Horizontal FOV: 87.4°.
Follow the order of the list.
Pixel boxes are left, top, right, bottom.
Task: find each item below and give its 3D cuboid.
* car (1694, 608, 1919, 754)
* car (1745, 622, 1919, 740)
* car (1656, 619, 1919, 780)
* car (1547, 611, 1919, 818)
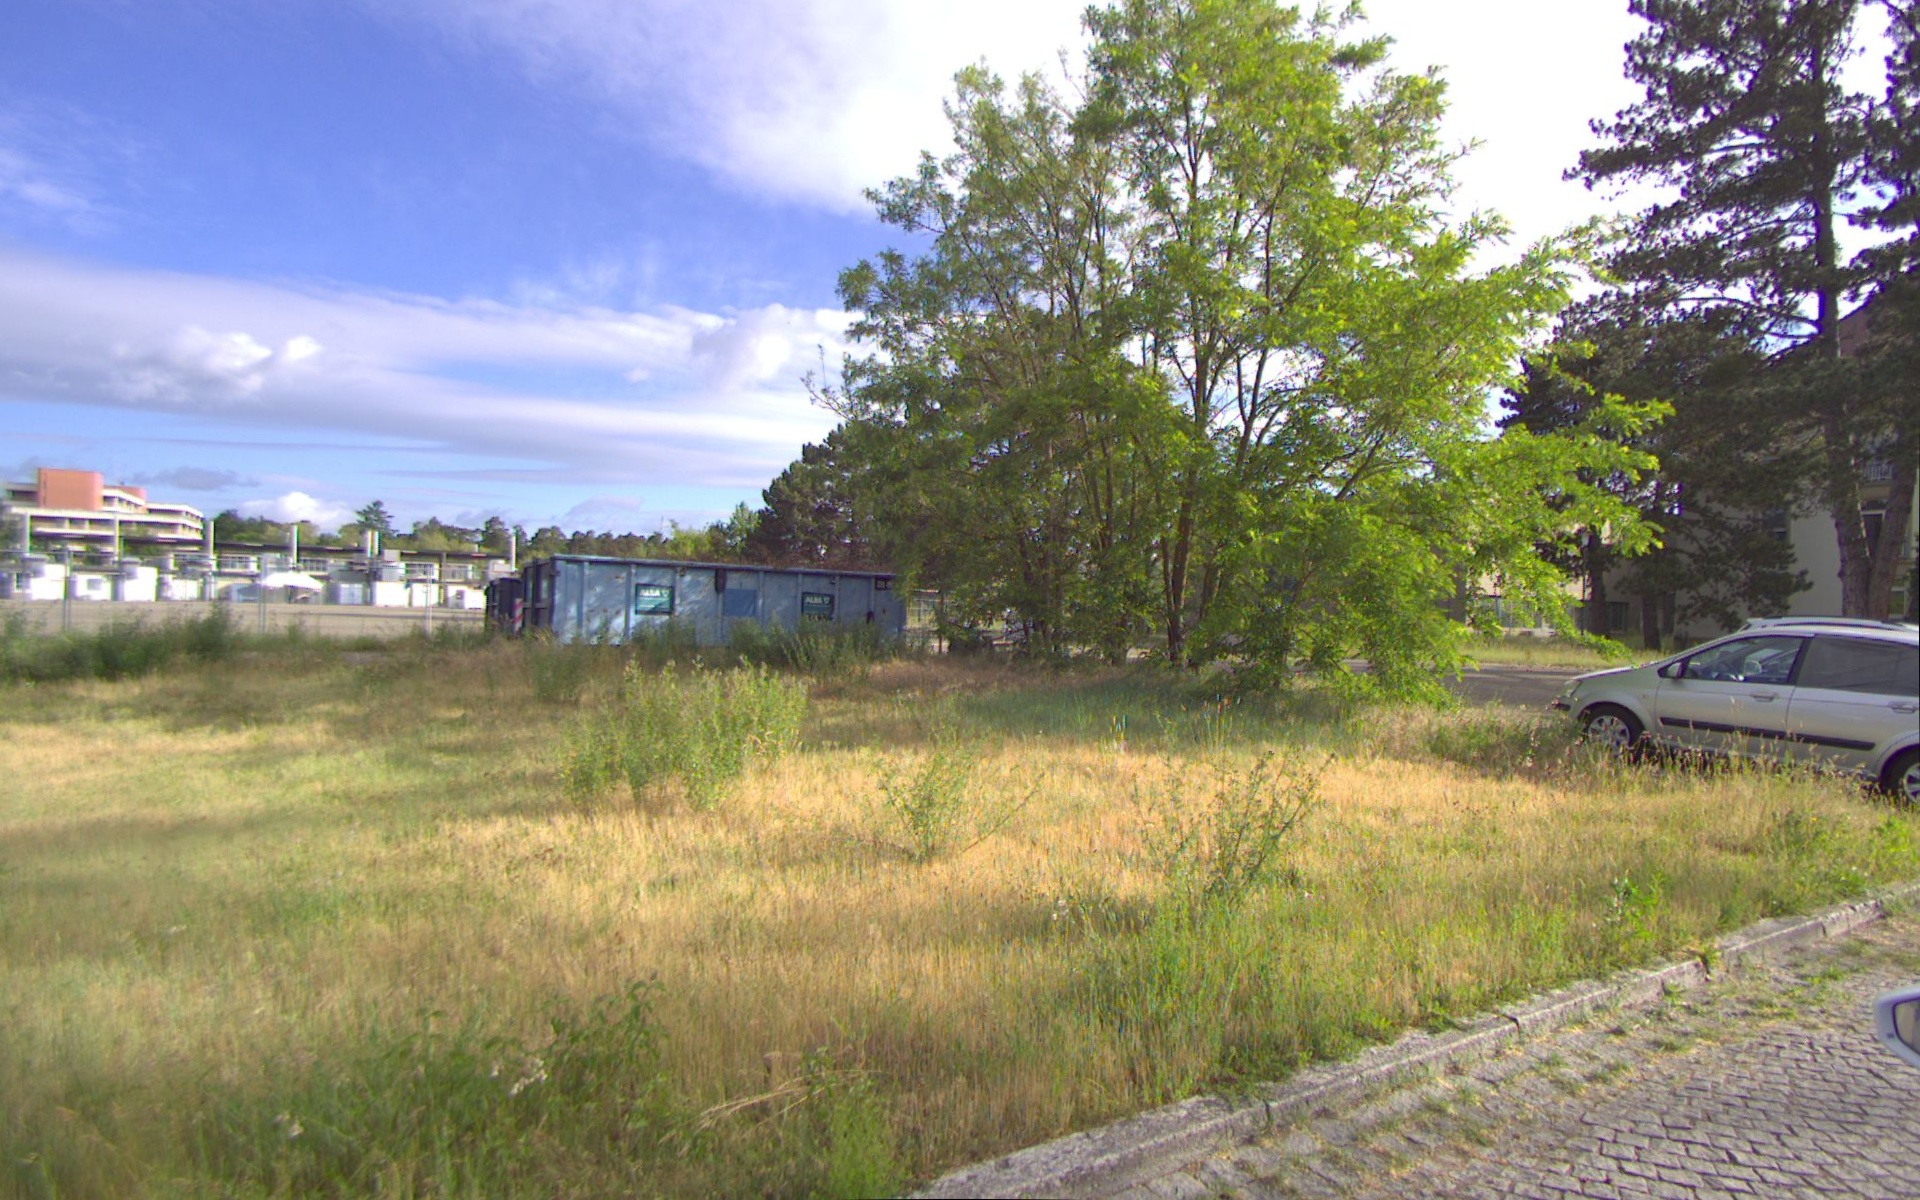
[{"bbox_3d":[12.188,1.059,12.839,1.840,1.621,4.093,2,2,-35],"label":"car"},{"bbox_3d":[14.277,1.219,14.239,1.883,1.475,4.559,0,3,-33],"label":"car"},{"bbox_3d":[10.195,1.092,10.966,1.838,1.448,3.808,2,2,-31],"label":"car"},{"bbox_3d":[7.983,0.988,9.553,1.829,1.493,3.662,2,2,-32],"label":"car"}]
